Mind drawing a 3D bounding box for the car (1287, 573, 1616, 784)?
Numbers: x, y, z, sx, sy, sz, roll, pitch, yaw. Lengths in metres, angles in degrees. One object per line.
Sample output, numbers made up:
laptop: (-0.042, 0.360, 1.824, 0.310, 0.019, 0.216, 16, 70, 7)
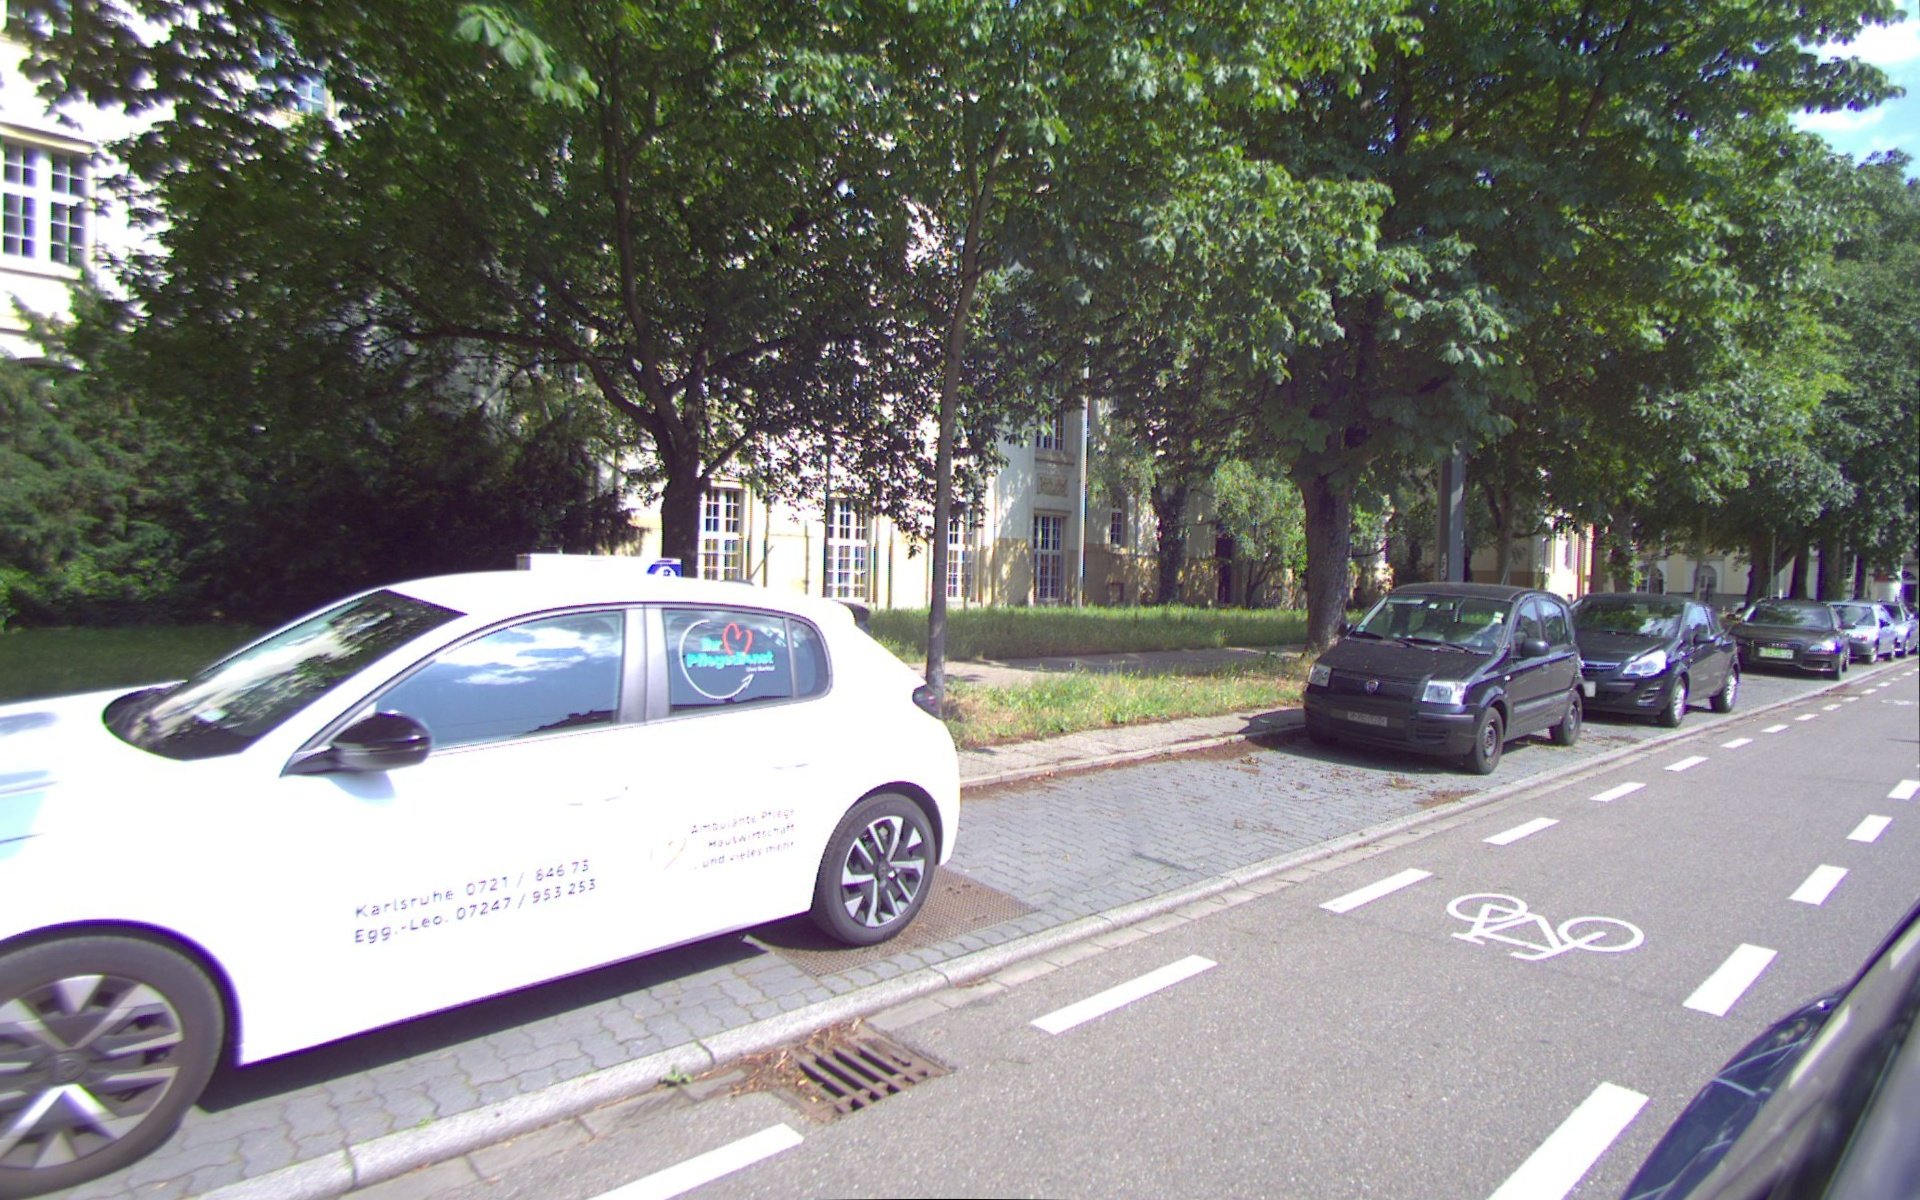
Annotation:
car: (4.664, 0.548, 9.396, 3.500, 1.478, 1.558, -1, 6, -44)

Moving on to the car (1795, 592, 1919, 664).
car: (21.479, 0.625, 24.104, 3.942, 1.448, 1.640, 1, 4, -39)

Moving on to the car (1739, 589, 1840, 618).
car: (54.823, 0.192, 66.980, 1.820, 1.676, 4.841, -1, 2, -31)

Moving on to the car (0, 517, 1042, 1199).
car: (-1.798, 0.546, 3.742, 4.183, 1.542, 1.838, 0, 4, -44)

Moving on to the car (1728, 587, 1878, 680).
car: (17.012, 0.569, 20.344, 1.833, 1.484, 4.754, 6, 5, 45)

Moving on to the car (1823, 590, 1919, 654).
car: (25.227, 0.547, 27.598, 4.962, 1.458, 1.833, 0, 5, -42)

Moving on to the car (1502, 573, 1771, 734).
car: (8.570, 0.543, 12.683, 4.233, 1.580, 1.695, 0, 5, -42)

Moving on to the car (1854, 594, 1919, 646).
car: (29.801, 0.611, 31.968, 4.578, 1.417, 1.832, 0, 5, -43)
